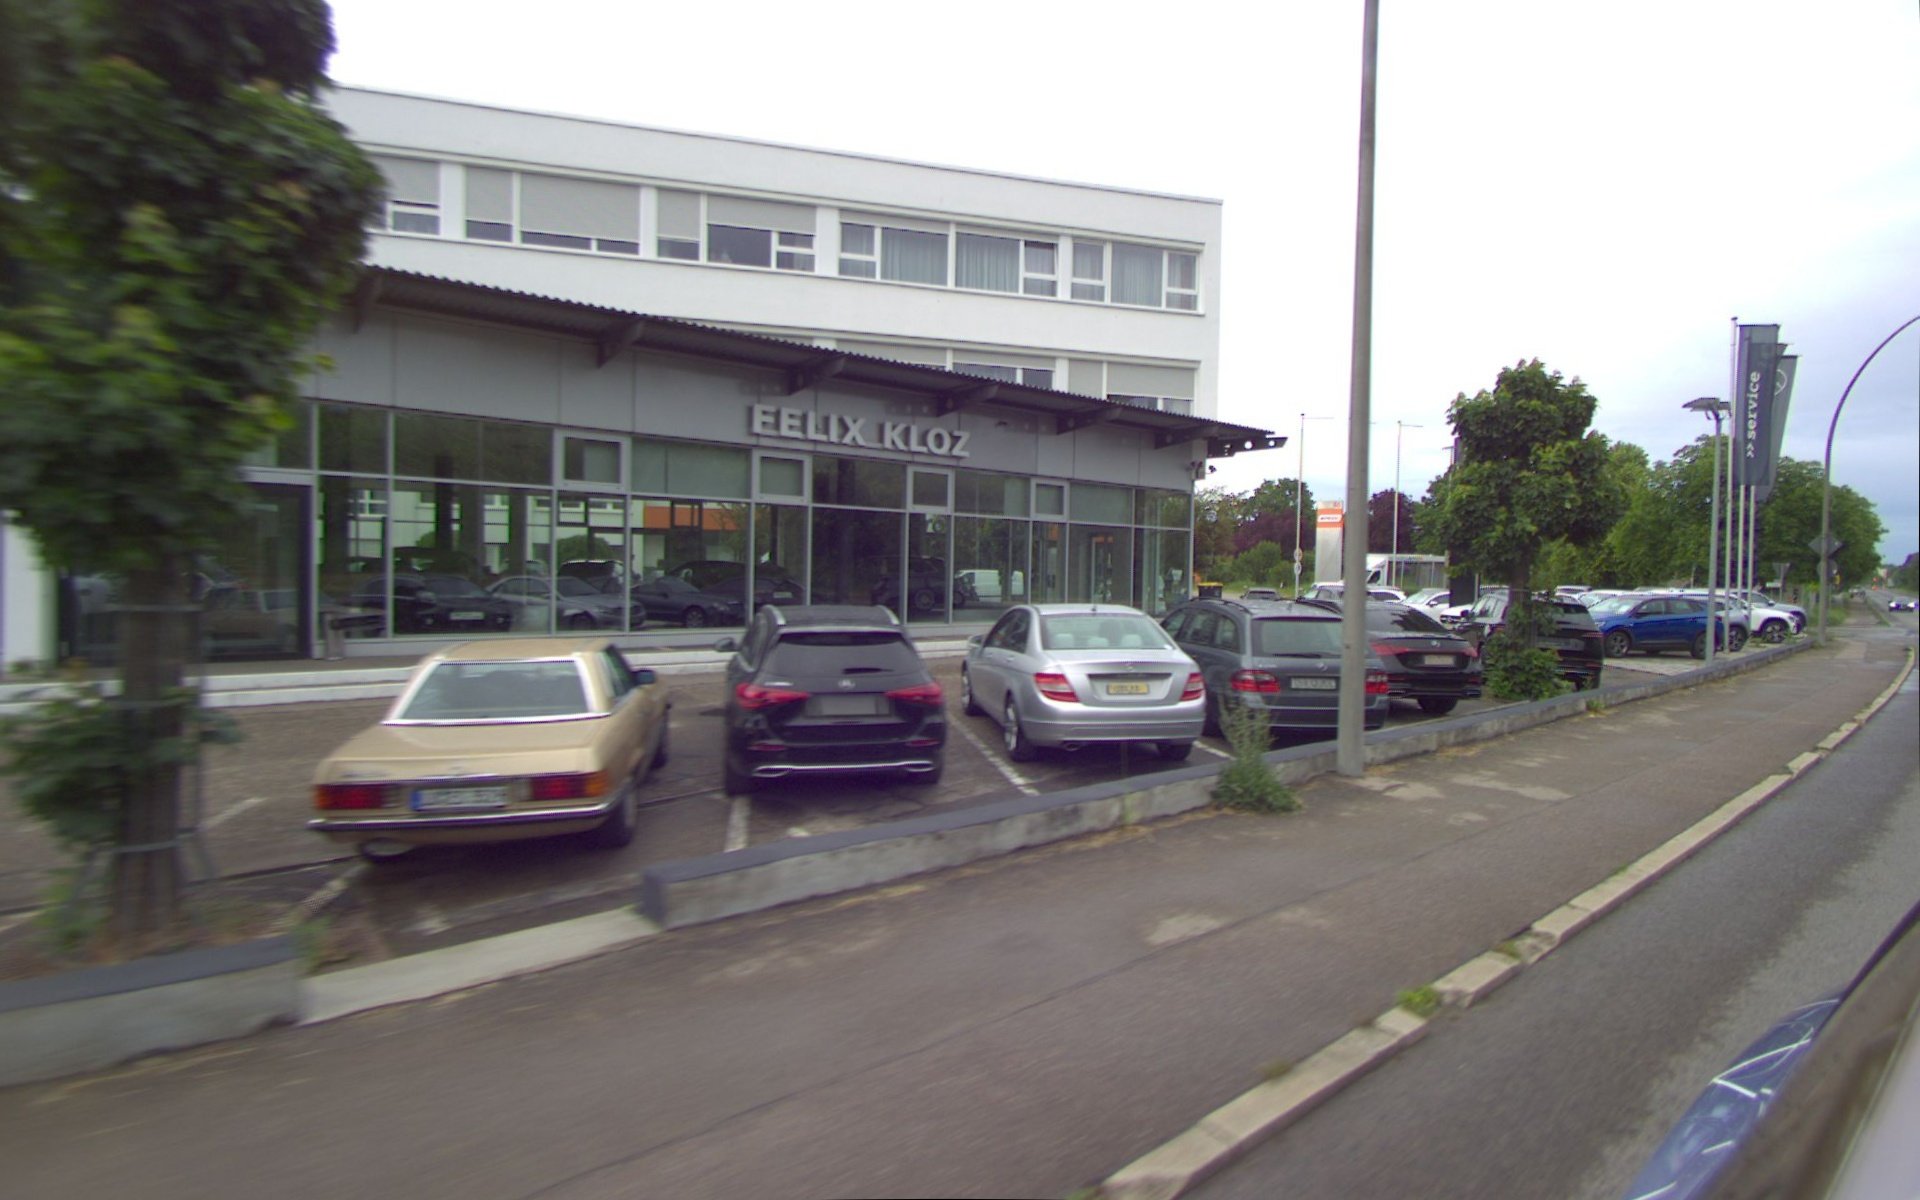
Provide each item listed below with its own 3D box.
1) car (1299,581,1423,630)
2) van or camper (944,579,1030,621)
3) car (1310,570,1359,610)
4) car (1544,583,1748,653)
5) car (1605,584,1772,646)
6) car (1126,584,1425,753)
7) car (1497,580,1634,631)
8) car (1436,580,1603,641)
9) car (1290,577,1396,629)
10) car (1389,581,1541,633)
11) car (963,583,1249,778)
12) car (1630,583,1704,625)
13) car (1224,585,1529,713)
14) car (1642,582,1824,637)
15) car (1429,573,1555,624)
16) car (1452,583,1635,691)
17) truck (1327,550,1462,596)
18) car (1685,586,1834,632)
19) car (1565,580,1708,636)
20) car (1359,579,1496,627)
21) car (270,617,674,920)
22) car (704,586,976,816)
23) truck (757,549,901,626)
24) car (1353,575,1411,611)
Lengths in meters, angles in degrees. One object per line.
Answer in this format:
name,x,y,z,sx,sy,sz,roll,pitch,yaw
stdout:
car,14.950,0.189,37.837,3.905,1.662,1.775,-2,0,-10
van or camper,1.344,-0.033,50.802,3.916,2.066,1.813,0,1,-18
car,15.677,-0.416,42.497,1.749,1.571,3.430,2,1,18
car,18.137,0.446,26.864,4.277,1.652,1.847,1,3,-8
car,21.252,0.425,29.600,3.737,1.619,1.735,1,2,-8
car,3.388,0.648,11.778,1.861,1.575,4.004,-1,0,-6
car,21.386,0.171,35.846,3.844,1.470,1.686,-2,6,-6
car,16.230,0.285,29.398,4.092,1.619,1.736,1,2,-14
car,12.551,0.070,33.381,1.744,1.496,3.569,2,2,-7
car,16.035,0.208,32.228,3.917,1.564,1.907,1,1,-10
car,1.245,0.638,10.542,1.799,1.485,4.183,0,3,-8
car,30.140,0.107,43.100,1.809,1.694,4.633,1,1,45
car,5.653,0.576,14.487,1.894,1.498,4.451,1,1,-10
car,25.639,0.284,33.740,4.356,1.673,1.922,1,1,10
car,20.113,-0.062,38.314,3.918,1.742,1.682,-2,0,-10
car,10.324,0.543,18.287,1.817,1.628,4.525,3,1,17
truck,27.292,-1.703,63.503,8.299,2.656,2.794,-1,0,-23
car,30.933,0.333,39.233,4.279,1.691,1.968,0,1,-3
car,21.483,0.247,32.221,3.486,1.619,1.667,1,2,-8
car,16.175,0.089,35.114,3.917,1.564,1.907,1,1,-11
car,-3.136,0.905,7.437,1.699,1.317,4.245,-2,2,-12
car,-1.279,0.677,9.240,1.935,1.510,3.978,-1,2,-13
truck,-6.337,-0.627,48.753,6.510,3.457,2.577,-1,0,-15
car,18.647,-0.327,44.832,1.746,1.478,3.983,2,1,14
